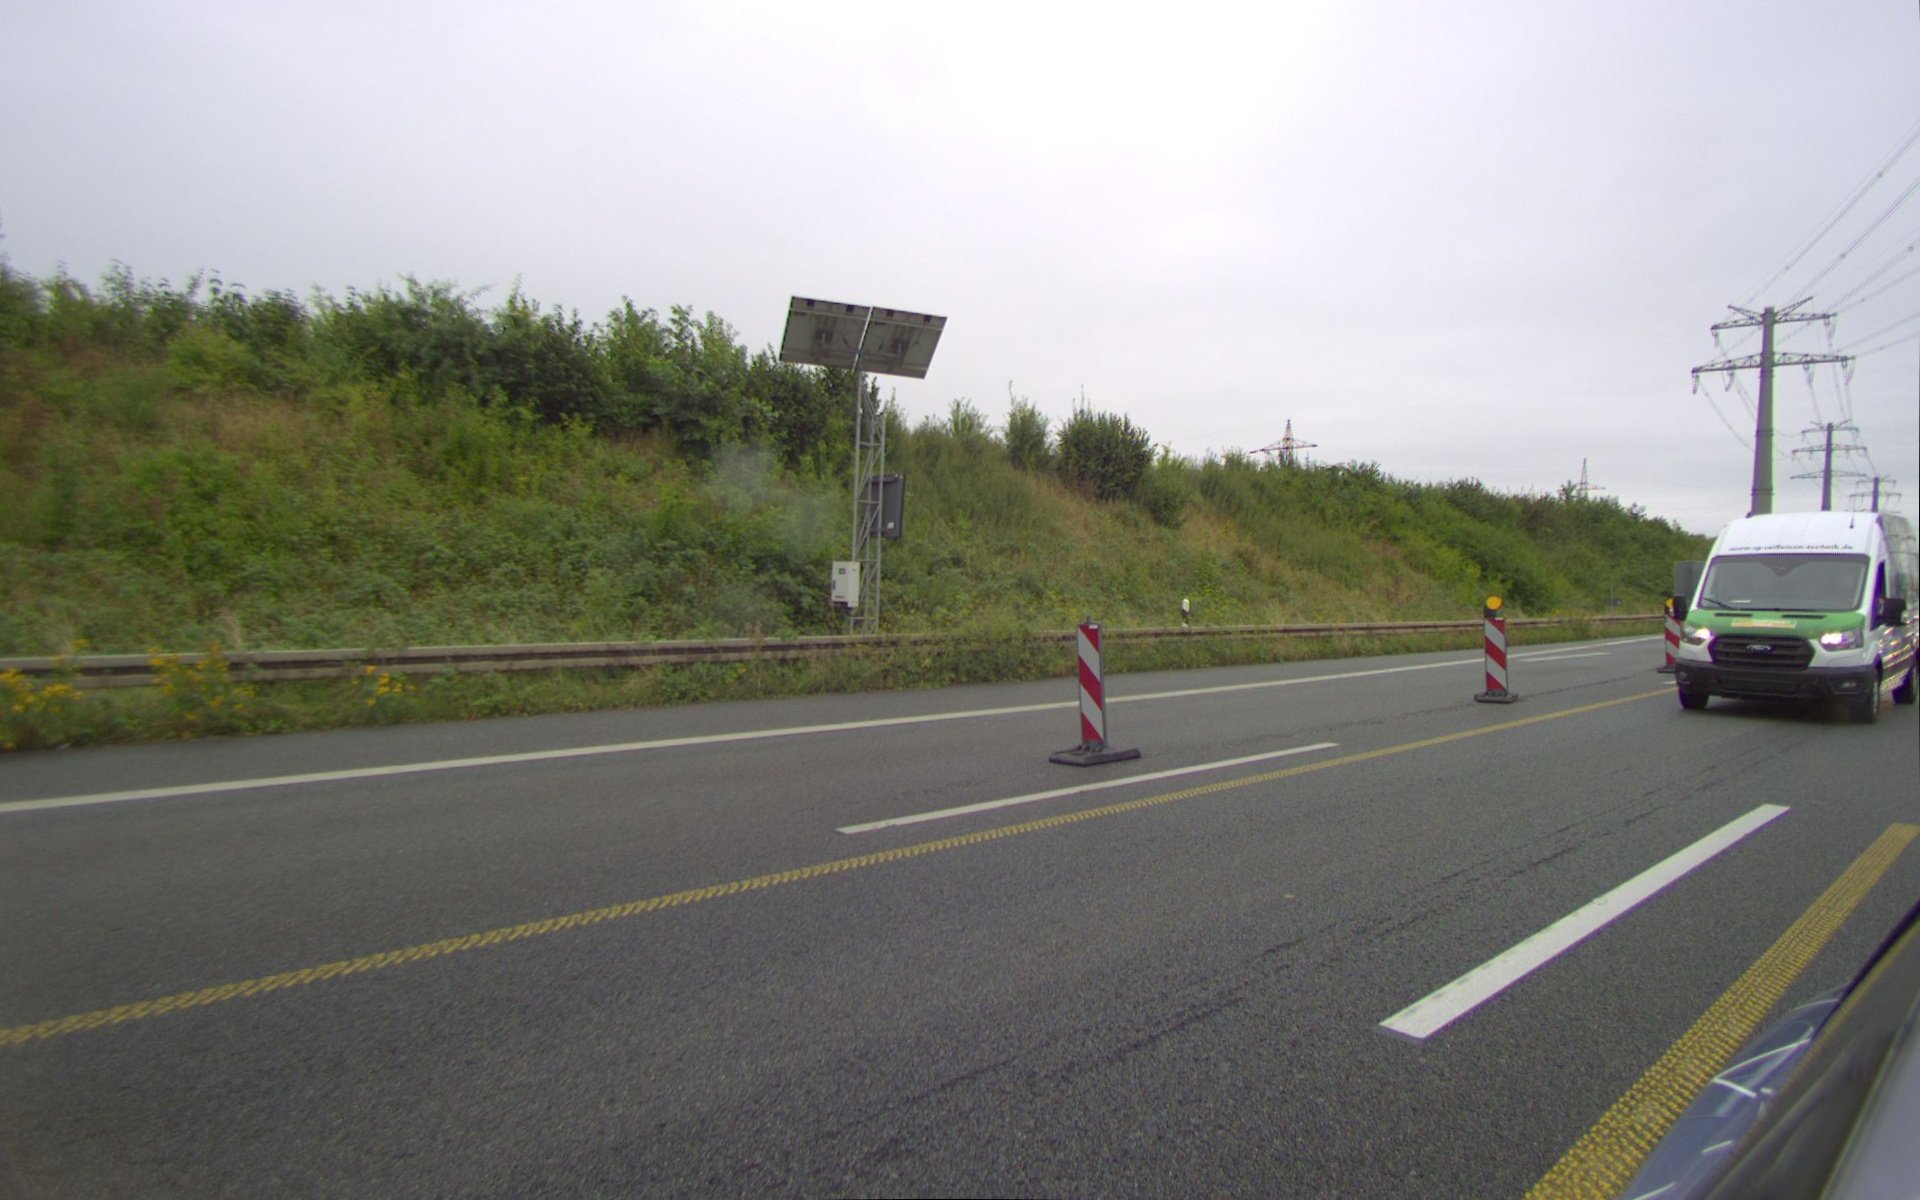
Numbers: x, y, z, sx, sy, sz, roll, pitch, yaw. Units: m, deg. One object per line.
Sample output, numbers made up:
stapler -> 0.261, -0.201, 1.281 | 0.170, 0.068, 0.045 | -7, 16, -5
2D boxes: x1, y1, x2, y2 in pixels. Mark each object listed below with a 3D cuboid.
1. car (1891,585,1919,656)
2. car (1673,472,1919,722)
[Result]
car -> 24.412, 0.489, 24.839 | 4.203, 1.679, 1.688 | 0, 1, -39
car -> 11.897, -0.059, 14.052 | 5.656, 2.817, 1.997 | 0, 1, -42
